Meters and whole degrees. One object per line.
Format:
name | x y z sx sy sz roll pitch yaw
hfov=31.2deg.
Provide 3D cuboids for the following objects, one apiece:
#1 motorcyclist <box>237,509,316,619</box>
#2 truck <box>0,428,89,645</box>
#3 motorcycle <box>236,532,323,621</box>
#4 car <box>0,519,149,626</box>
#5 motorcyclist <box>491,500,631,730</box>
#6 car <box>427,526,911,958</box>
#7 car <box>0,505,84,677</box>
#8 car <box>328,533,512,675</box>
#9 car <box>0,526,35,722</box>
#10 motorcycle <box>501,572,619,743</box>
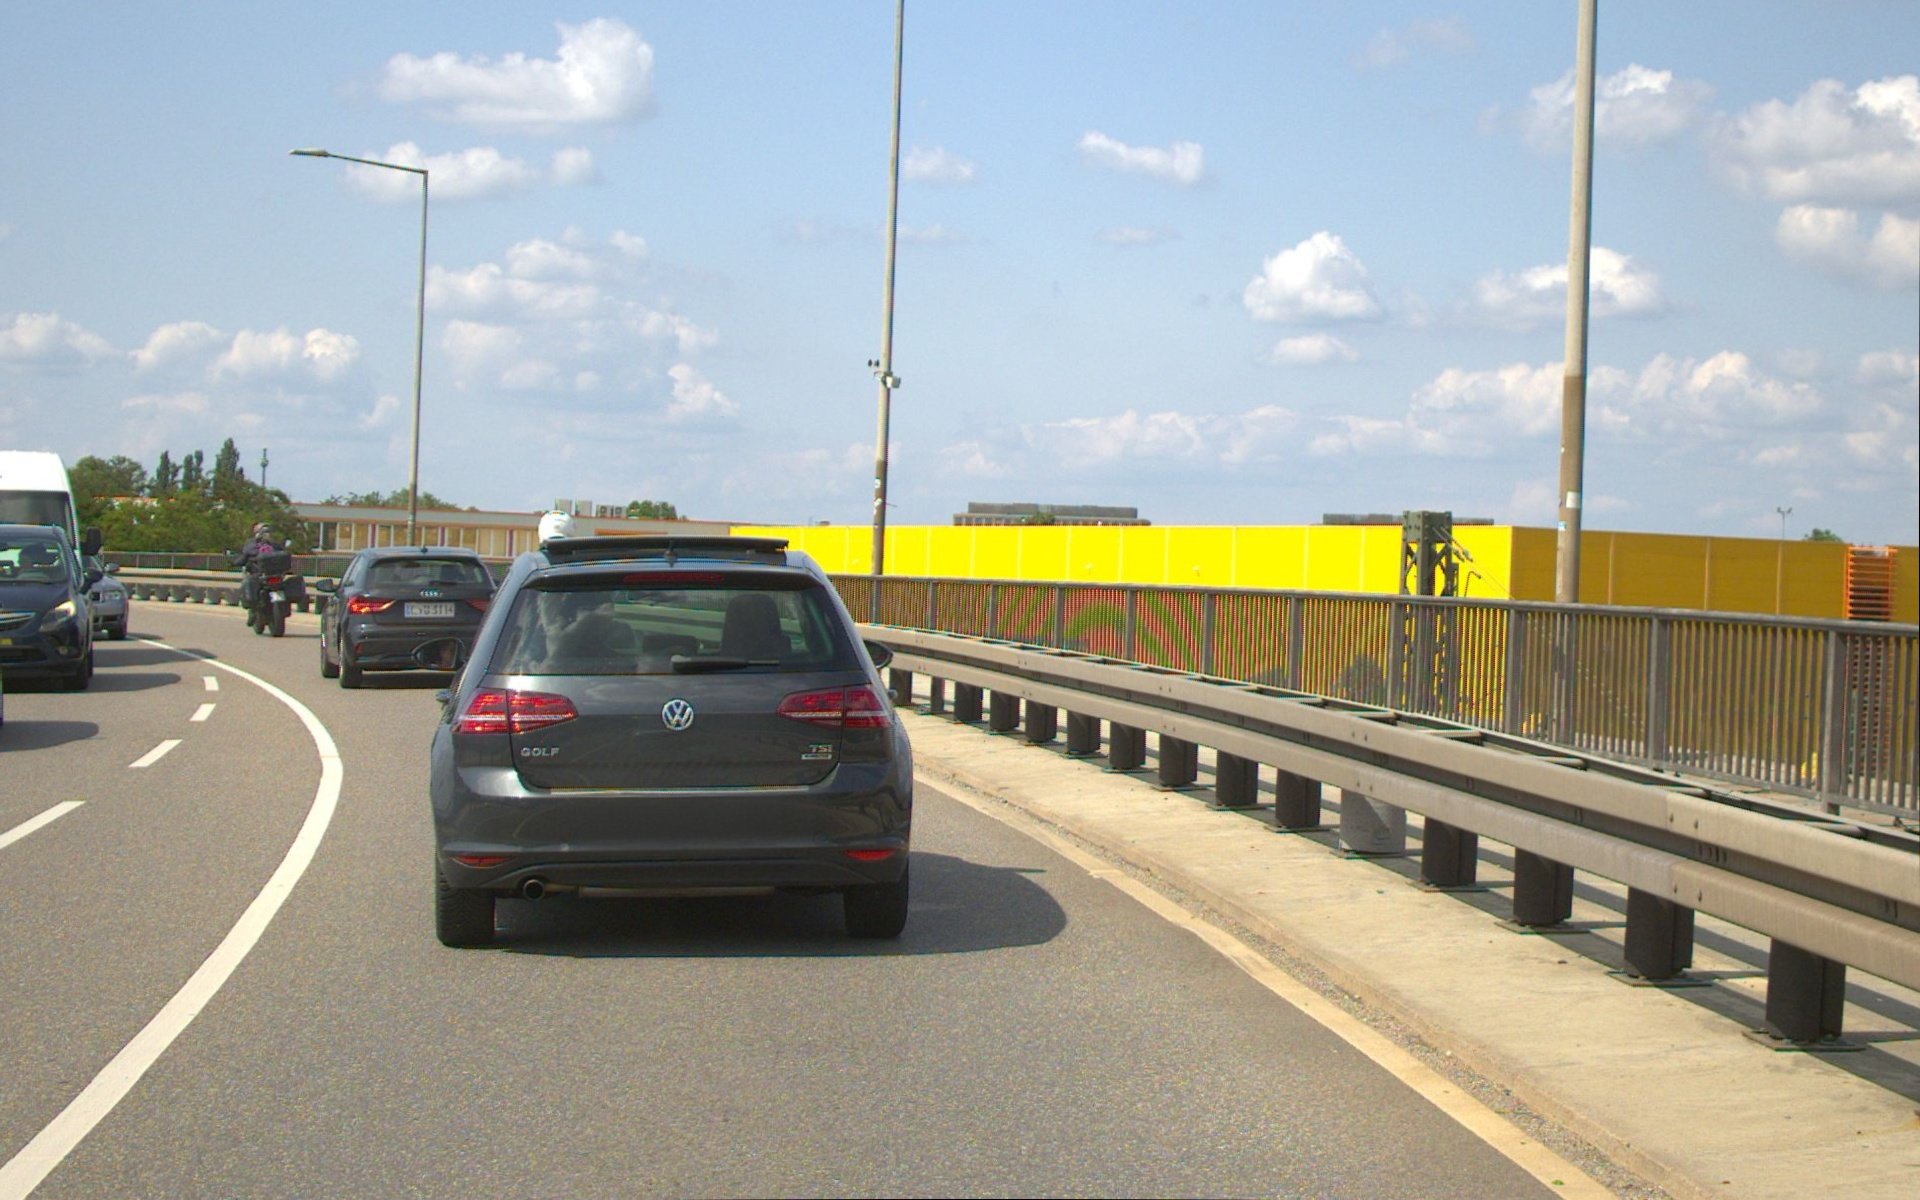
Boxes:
motorcyclist | -10.044 -0.532 50.502 0.965 1.590 1.125 1 1 -20
truck | -12.129 -0.810 42.487 1.993 2.499 5.949 -1 2 -20
motorcycle | -9.969 -0.355 50.311 0.887 1.243 2.400 0 1 -20
car | -13.110 -0.429 50.229 1.766 1.455 4.299 -1 2 -22
motorcyclist | -2.901 0.097 24.928 0.965 1.614 1.125 1 1 -8
car | -1.134 0.461 13.750 1.642 1.474 3.873 1 1 -4
car | -9.723 -0.128 34.613 1.717 1.626 4.429 -1 1 -14
car | -5.503 0.028 35.360 1.681 1.383 3.740 0 0 -6
car | -7.970 0.190 25.445 1.658 1.449 4.328 -1 2 -8
motorcycle | -2.905 0.386 24.831 0.789 1.128 2.400 1 1 -7
